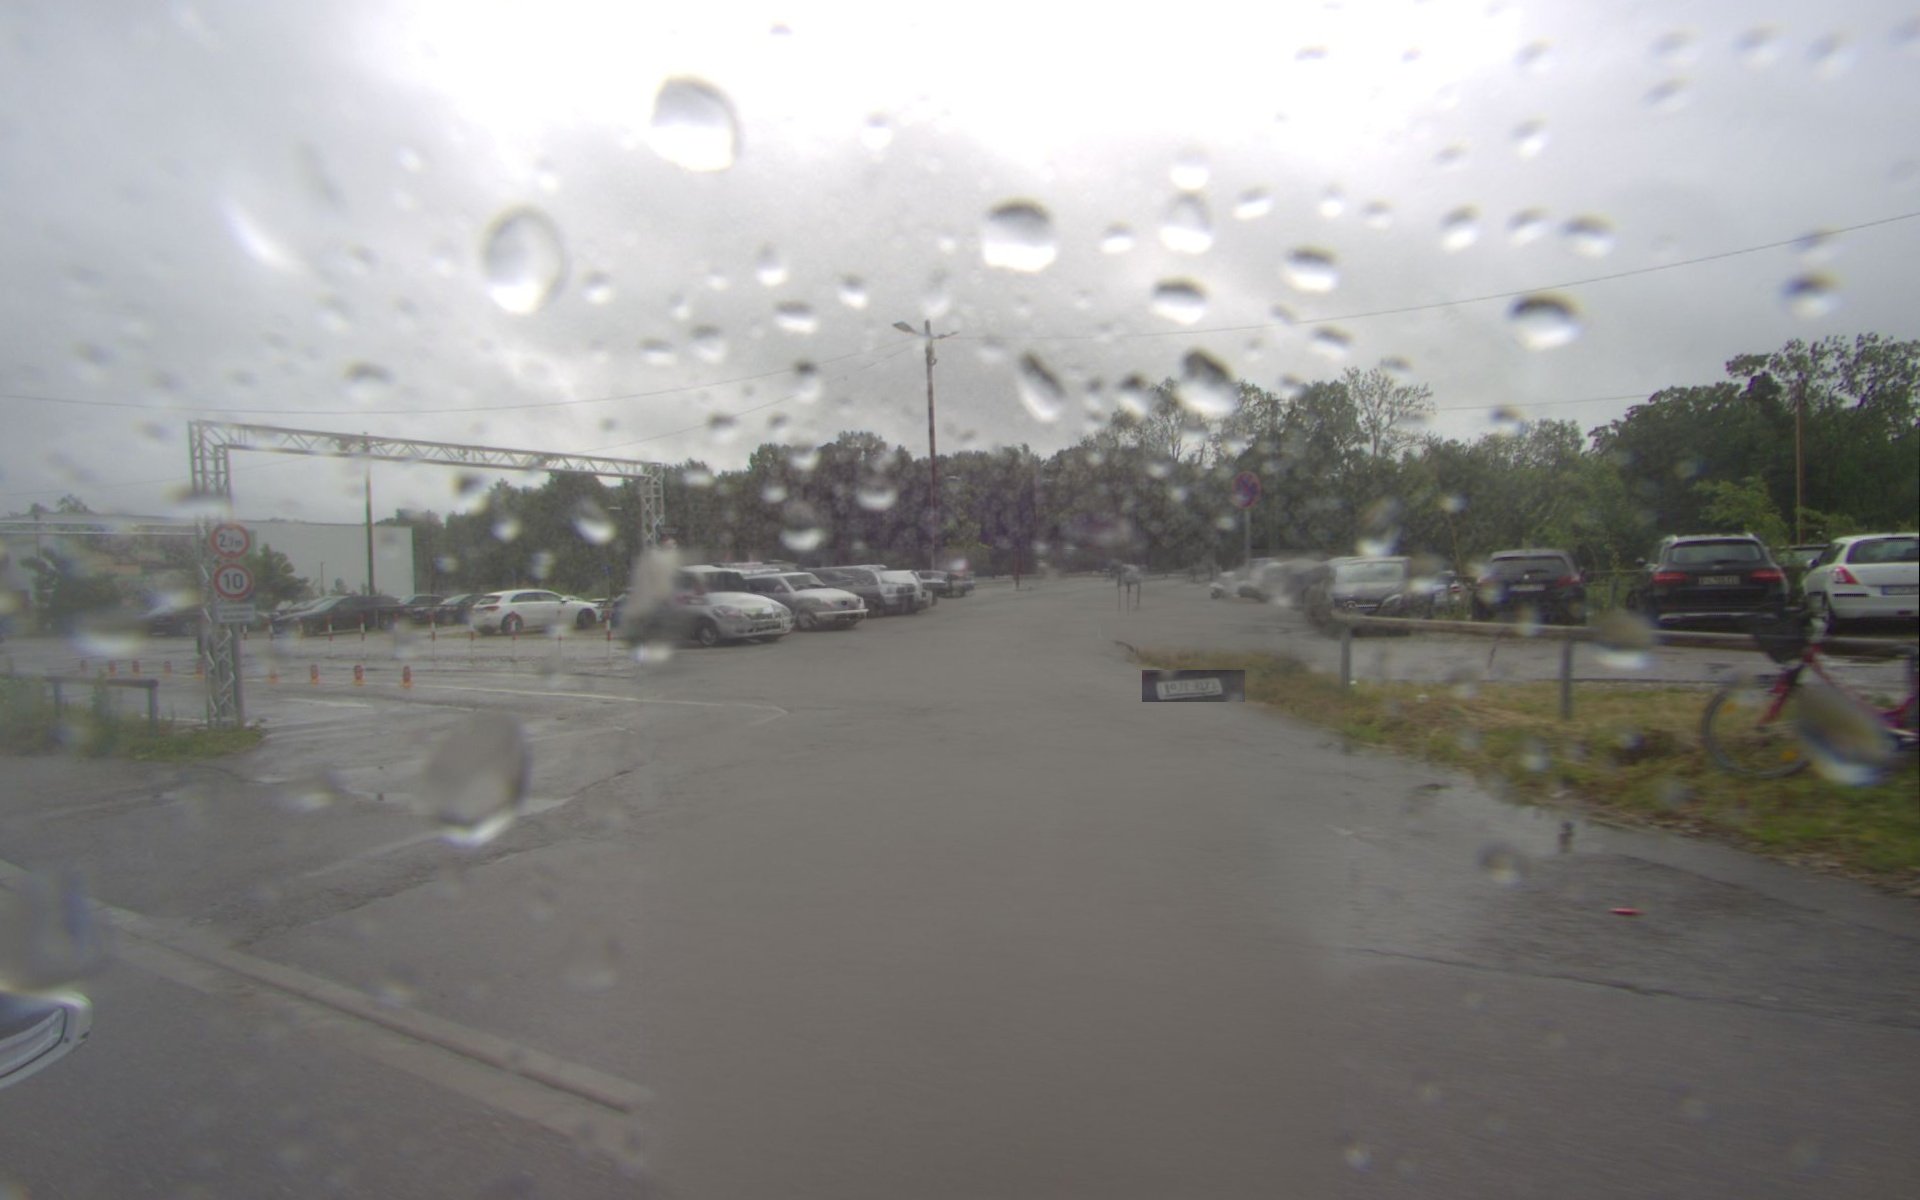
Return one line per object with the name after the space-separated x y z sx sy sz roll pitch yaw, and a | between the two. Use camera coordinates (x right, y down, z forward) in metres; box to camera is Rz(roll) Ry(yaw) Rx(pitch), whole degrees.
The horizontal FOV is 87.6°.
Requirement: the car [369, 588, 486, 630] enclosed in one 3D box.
-25.389 0.413 47.877 2.015 1.627 4.429 -2 2 32 | car

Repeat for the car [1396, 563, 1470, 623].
15.906 -0.274 33.555 1.970 1.855 3.980 -1 1 29 | car

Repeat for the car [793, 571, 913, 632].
-3.427 0.018 32.924 1.805 1.682 4.051 -2 2 30 | car

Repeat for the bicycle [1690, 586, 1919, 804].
5.001 0.483 5.370 0.502 1.099 1.690 -3 2 -36 | bicycle

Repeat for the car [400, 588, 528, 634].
-21.964 0.462 44.524 2.015 1.627 4.689 -2 2 31 | car

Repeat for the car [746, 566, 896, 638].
-3.586 0.015 26.437 1.763 1.605 3.761 -2 3 35 | car

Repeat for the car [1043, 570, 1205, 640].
3.742 0.054 22.133 1.950 1.237 4.576 -2 2 31 | car

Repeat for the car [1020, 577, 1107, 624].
4.300 0.004 40.973 1.991 1.744 4.310 -1 1 29 | car

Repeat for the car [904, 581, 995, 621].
-0.409 0.036 43.971 1.992 1.611 4.308 -1 1 31 | car

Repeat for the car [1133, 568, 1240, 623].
6.225 -0.156 27.195 1.729 1.350 3.980 -1 1 30 | car

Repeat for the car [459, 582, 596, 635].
-14.712 0.260 34.243 1.902 1.504 3.815 -2 3 35 | car

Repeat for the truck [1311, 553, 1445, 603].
18.546 -0.958 44.515 5.206 2.041 2.075 0 2 34 | truck

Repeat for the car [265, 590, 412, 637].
-24.737 0.504 40.038 1.987 1.738 4.617 -2 -1 26 | car

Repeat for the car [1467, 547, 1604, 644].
10.572 -0.133 18.260 1.845 1.510 3.939 -2 2 34 | car

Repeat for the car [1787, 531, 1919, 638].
14.826 -0.309 16.259 1.754 1.510 3.939 -2 2 34 | car

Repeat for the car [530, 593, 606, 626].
-22.996 0.533 58.824 1.866 1.751 3.987 -1 1 23 | car

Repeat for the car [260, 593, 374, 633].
-32.878 0.642 51.324 2.013 1.695 4.432 -2 2 29 | car

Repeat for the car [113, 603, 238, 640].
-35.009 0.949 44.791 1.972 1.505 3.977 -2 -1 33 | car

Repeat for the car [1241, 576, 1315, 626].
11.814 0.006 37.046 1.785 1.667 4.181 -1 1 29 | car

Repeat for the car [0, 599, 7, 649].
-36.112 0.961 34.308 2.101 1.758 4.663 -2 1 36 | car

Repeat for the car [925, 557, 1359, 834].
1.039 0.448 7.875 1.865 1.477 4.219 -3 3 -12 | car

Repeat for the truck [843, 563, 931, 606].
-4.412 -0.921 60.451 5.011 2.435 2.067 -1 2 32 | truck

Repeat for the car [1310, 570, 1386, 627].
13.610 -0.087 34.994 1.969 1.855 3.981 -1 1 28 | car

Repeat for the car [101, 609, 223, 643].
-37.031 1.174 46.549 1.972 1.427 3.977 -2 -1 33 | car

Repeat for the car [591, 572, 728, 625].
-11.098 -0.098 37.303 1.900 1.627 4.687 -2 2 33 | car

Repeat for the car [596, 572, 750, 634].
-8.440 0.067 29.731 1.902 1.504 4.030 -2 3 35 | car

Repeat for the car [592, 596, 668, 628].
-18.324 0.643 55.739 1.760 1.658 3.987 -1 1 23 | car

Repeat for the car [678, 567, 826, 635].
-5.793 -0.003 28.275 1.763 1.605 3.888 -2 3 35 | car

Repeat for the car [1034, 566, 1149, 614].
3.849 -0.313 28.752 1.805 1.086 4.051 -3 2 30 | car

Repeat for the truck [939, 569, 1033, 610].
1.433 -0.570 56.541 5.019 2.167 2.064 0 2 37 | truck

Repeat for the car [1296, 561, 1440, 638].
8.036 -0.047 19.536 1.627 1.237 3.871 -2 2 37 | car

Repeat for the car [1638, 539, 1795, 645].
12.441 -0.188 16.684 1.845 1.510 3.939 -2 2 34 | car
